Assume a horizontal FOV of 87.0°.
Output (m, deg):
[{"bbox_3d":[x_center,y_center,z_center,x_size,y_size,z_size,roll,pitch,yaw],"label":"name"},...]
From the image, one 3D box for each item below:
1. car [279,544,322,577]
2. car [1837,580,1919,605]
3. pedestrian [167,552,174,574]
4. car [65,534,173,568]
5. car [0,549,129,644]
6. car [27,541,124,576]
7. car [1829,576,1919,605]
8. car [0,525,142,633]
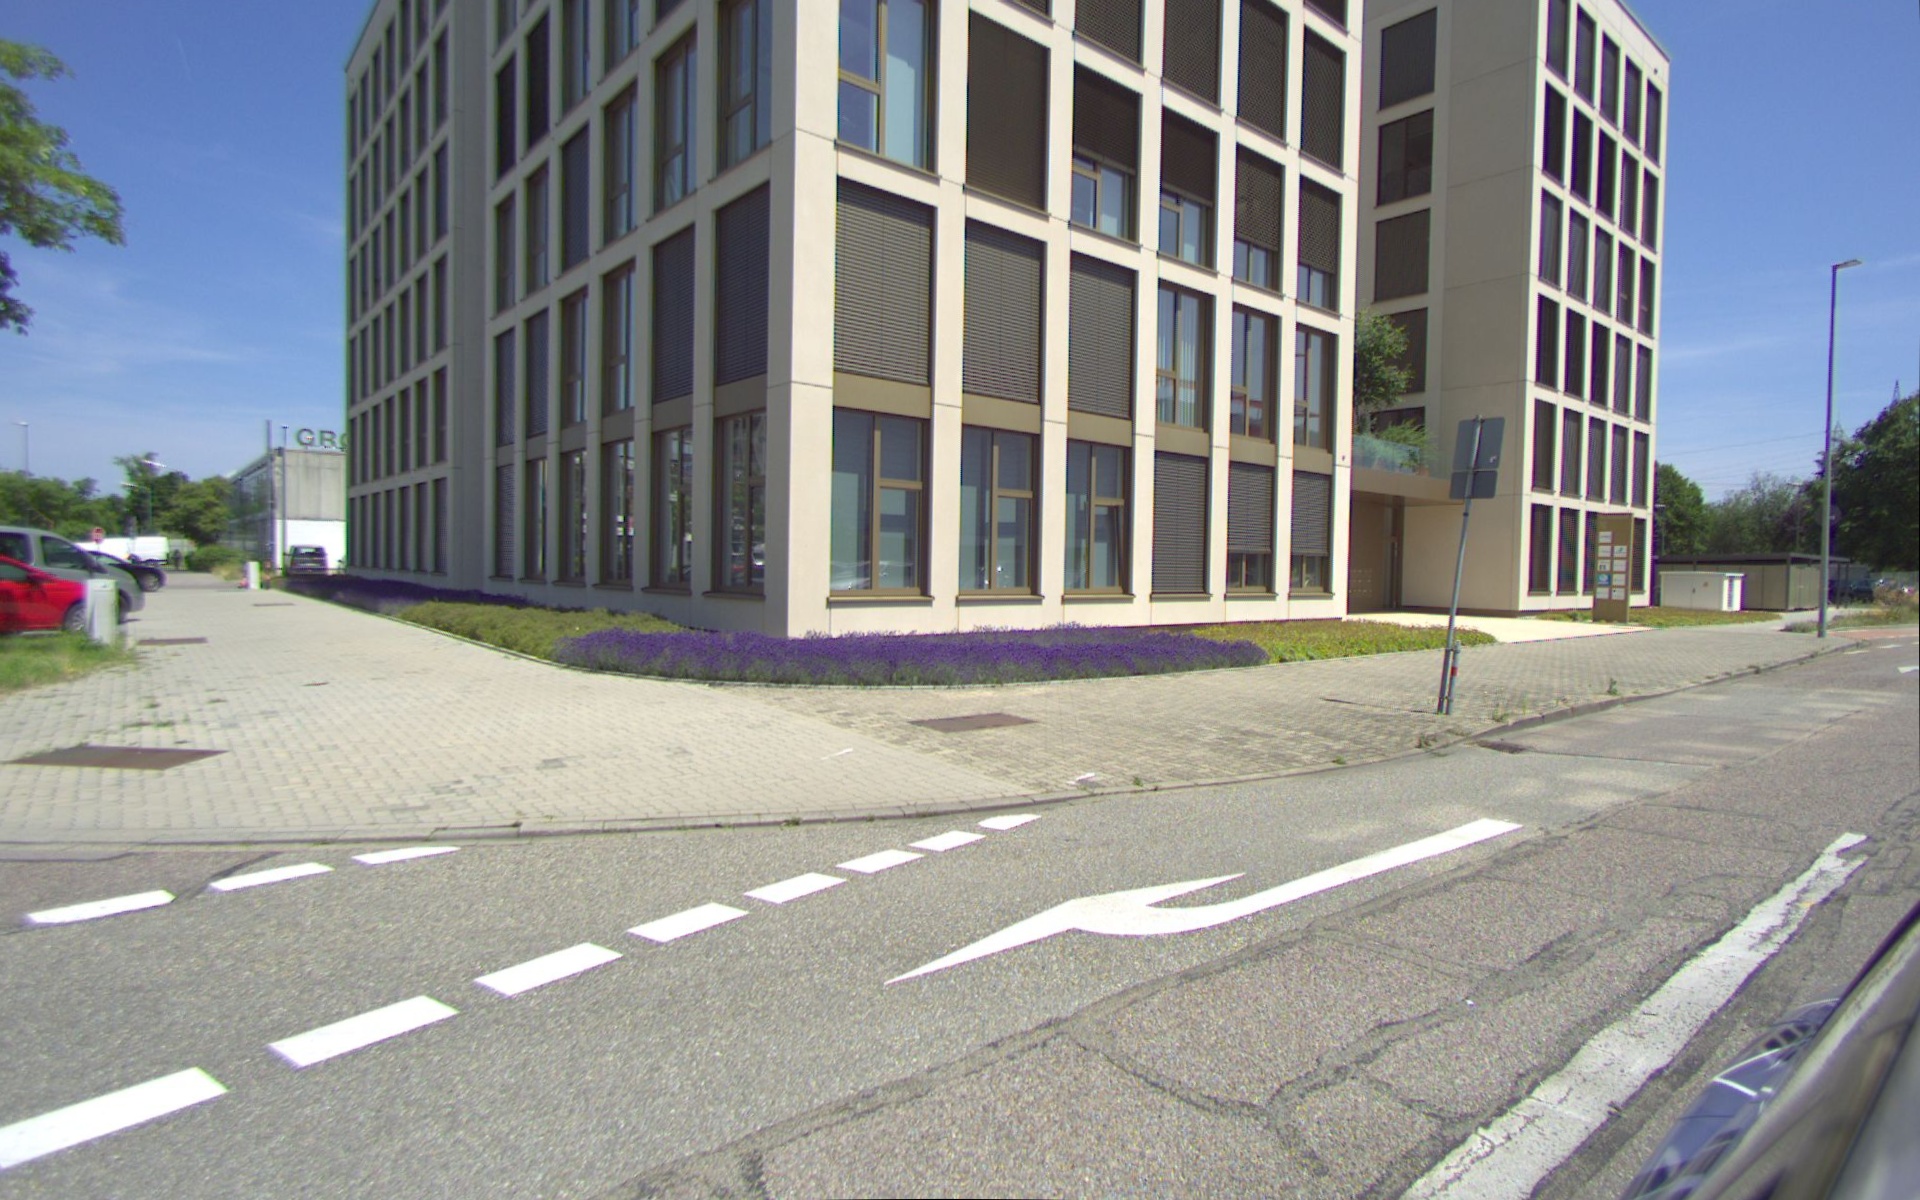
[{"bbox_3d":[-38.104,-2.232,58.433,1.763,1.749,3.997,0,0,-38],"label":"car"},{"bbox_3d":[55.276,-0.454,60.757,3.810,1.411,1.716,2,2,36],"label":"car"},{"bbox_3d":[-59.344,-2.780,76.037,0.397,1.579,0.549,0,2,-39],"label":"pedestrian"},{"bbox_3d":[-67.677,-3.885,81.613,6.573,2.552,2.217,-1,0,-38],"label":"car"},{"bbox_3d":[-15.465,-0.064,15.594,1.672,1.449,3.990,1,3,10],"label":"car"},{"bbox_3d":[-55.165,-2.548,63.225,4.495,2.039,1.997,-1,0,-40],"label":"car"},{"bbox_3d":[53.724,-0.575,59.504,3.810,1.571,1.716,2,2,36],"label":"car"},{"bbox_3d":[-17.914,-0.401,18.380,1.886,1.910,4.927,1,1,5],"label":"car"}]
